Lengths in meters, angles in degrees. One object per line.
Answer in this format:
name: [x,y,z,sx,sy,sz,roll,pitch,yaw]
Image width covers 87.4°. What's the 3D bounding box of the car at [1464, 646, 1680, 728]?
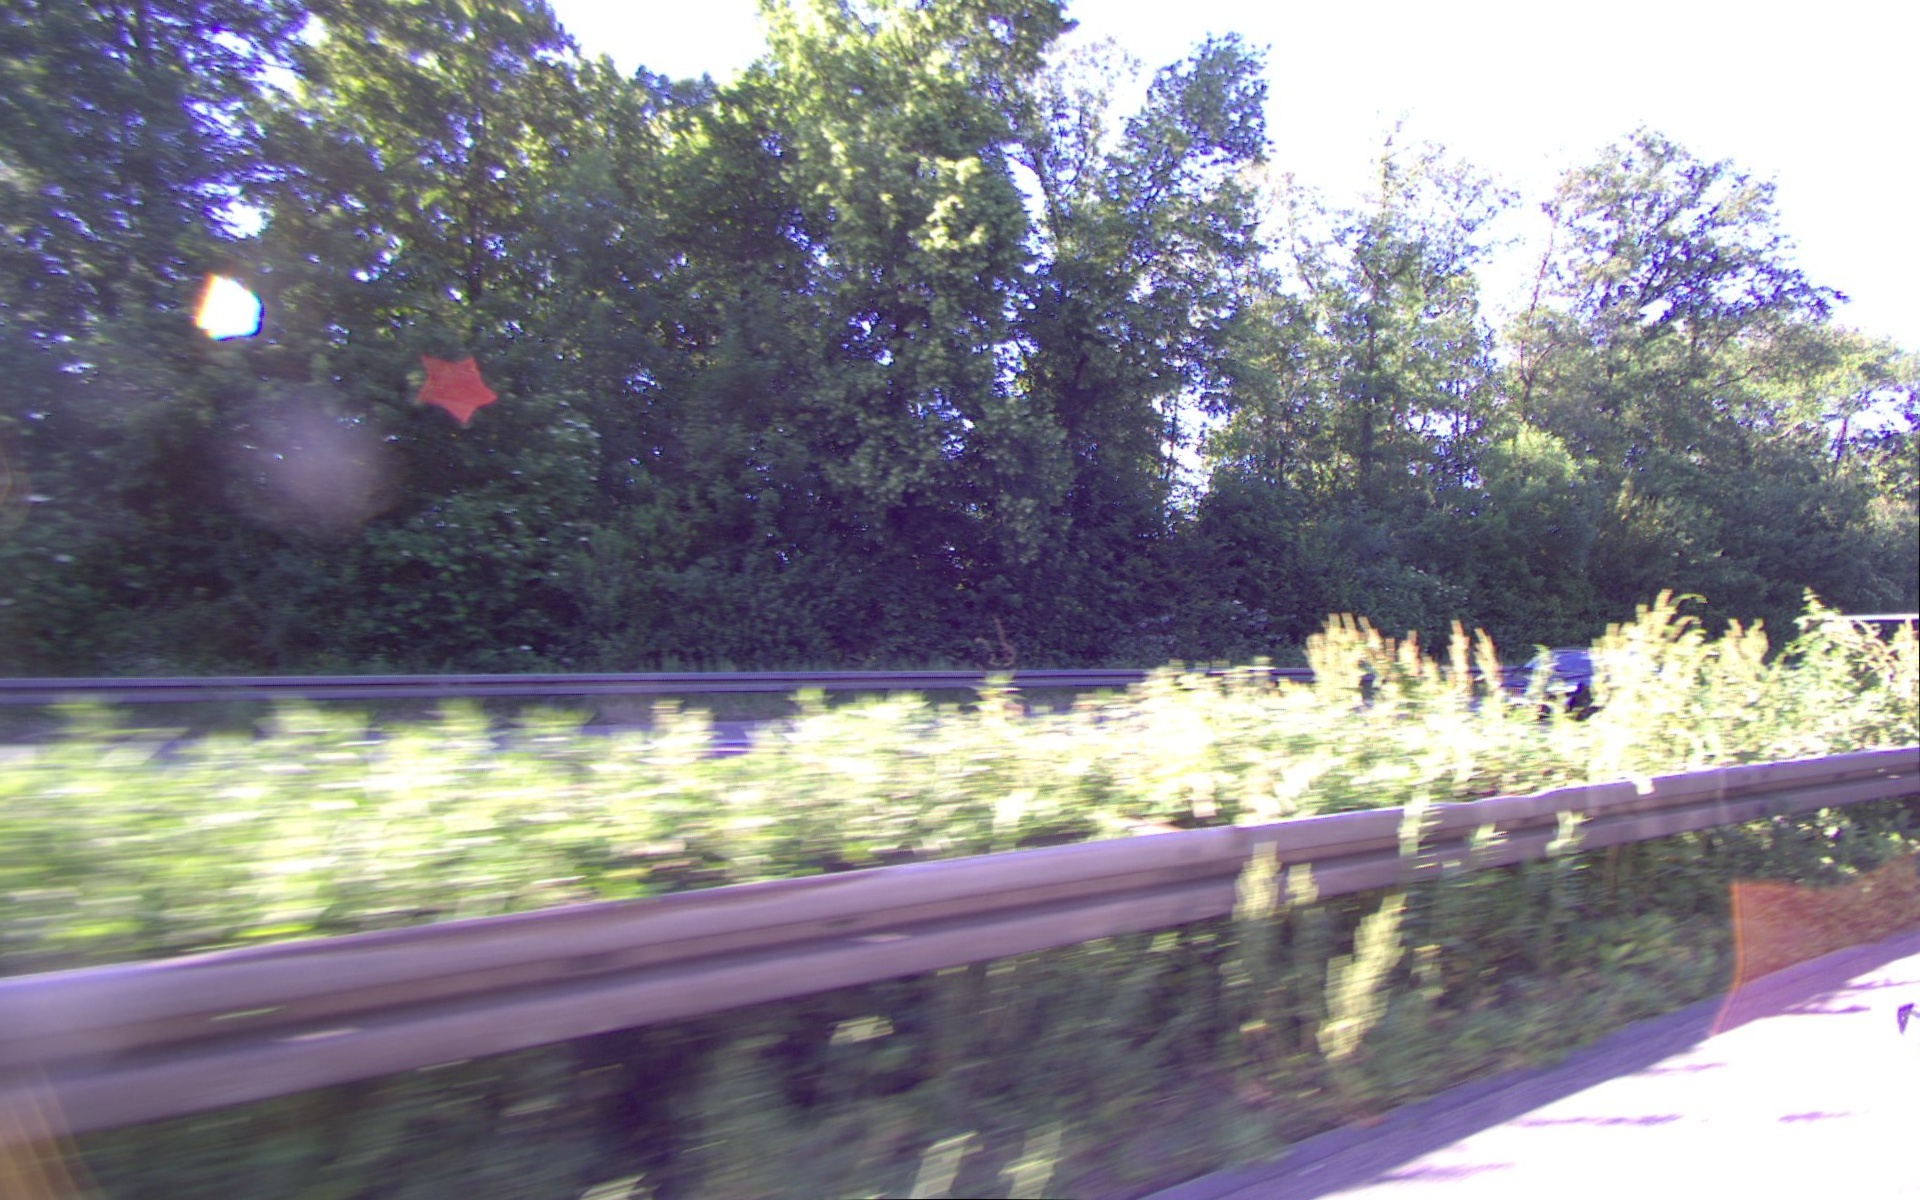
car: [12.824,1.763,20.989,4.457,1.442,1.984,2,-1,-30]
